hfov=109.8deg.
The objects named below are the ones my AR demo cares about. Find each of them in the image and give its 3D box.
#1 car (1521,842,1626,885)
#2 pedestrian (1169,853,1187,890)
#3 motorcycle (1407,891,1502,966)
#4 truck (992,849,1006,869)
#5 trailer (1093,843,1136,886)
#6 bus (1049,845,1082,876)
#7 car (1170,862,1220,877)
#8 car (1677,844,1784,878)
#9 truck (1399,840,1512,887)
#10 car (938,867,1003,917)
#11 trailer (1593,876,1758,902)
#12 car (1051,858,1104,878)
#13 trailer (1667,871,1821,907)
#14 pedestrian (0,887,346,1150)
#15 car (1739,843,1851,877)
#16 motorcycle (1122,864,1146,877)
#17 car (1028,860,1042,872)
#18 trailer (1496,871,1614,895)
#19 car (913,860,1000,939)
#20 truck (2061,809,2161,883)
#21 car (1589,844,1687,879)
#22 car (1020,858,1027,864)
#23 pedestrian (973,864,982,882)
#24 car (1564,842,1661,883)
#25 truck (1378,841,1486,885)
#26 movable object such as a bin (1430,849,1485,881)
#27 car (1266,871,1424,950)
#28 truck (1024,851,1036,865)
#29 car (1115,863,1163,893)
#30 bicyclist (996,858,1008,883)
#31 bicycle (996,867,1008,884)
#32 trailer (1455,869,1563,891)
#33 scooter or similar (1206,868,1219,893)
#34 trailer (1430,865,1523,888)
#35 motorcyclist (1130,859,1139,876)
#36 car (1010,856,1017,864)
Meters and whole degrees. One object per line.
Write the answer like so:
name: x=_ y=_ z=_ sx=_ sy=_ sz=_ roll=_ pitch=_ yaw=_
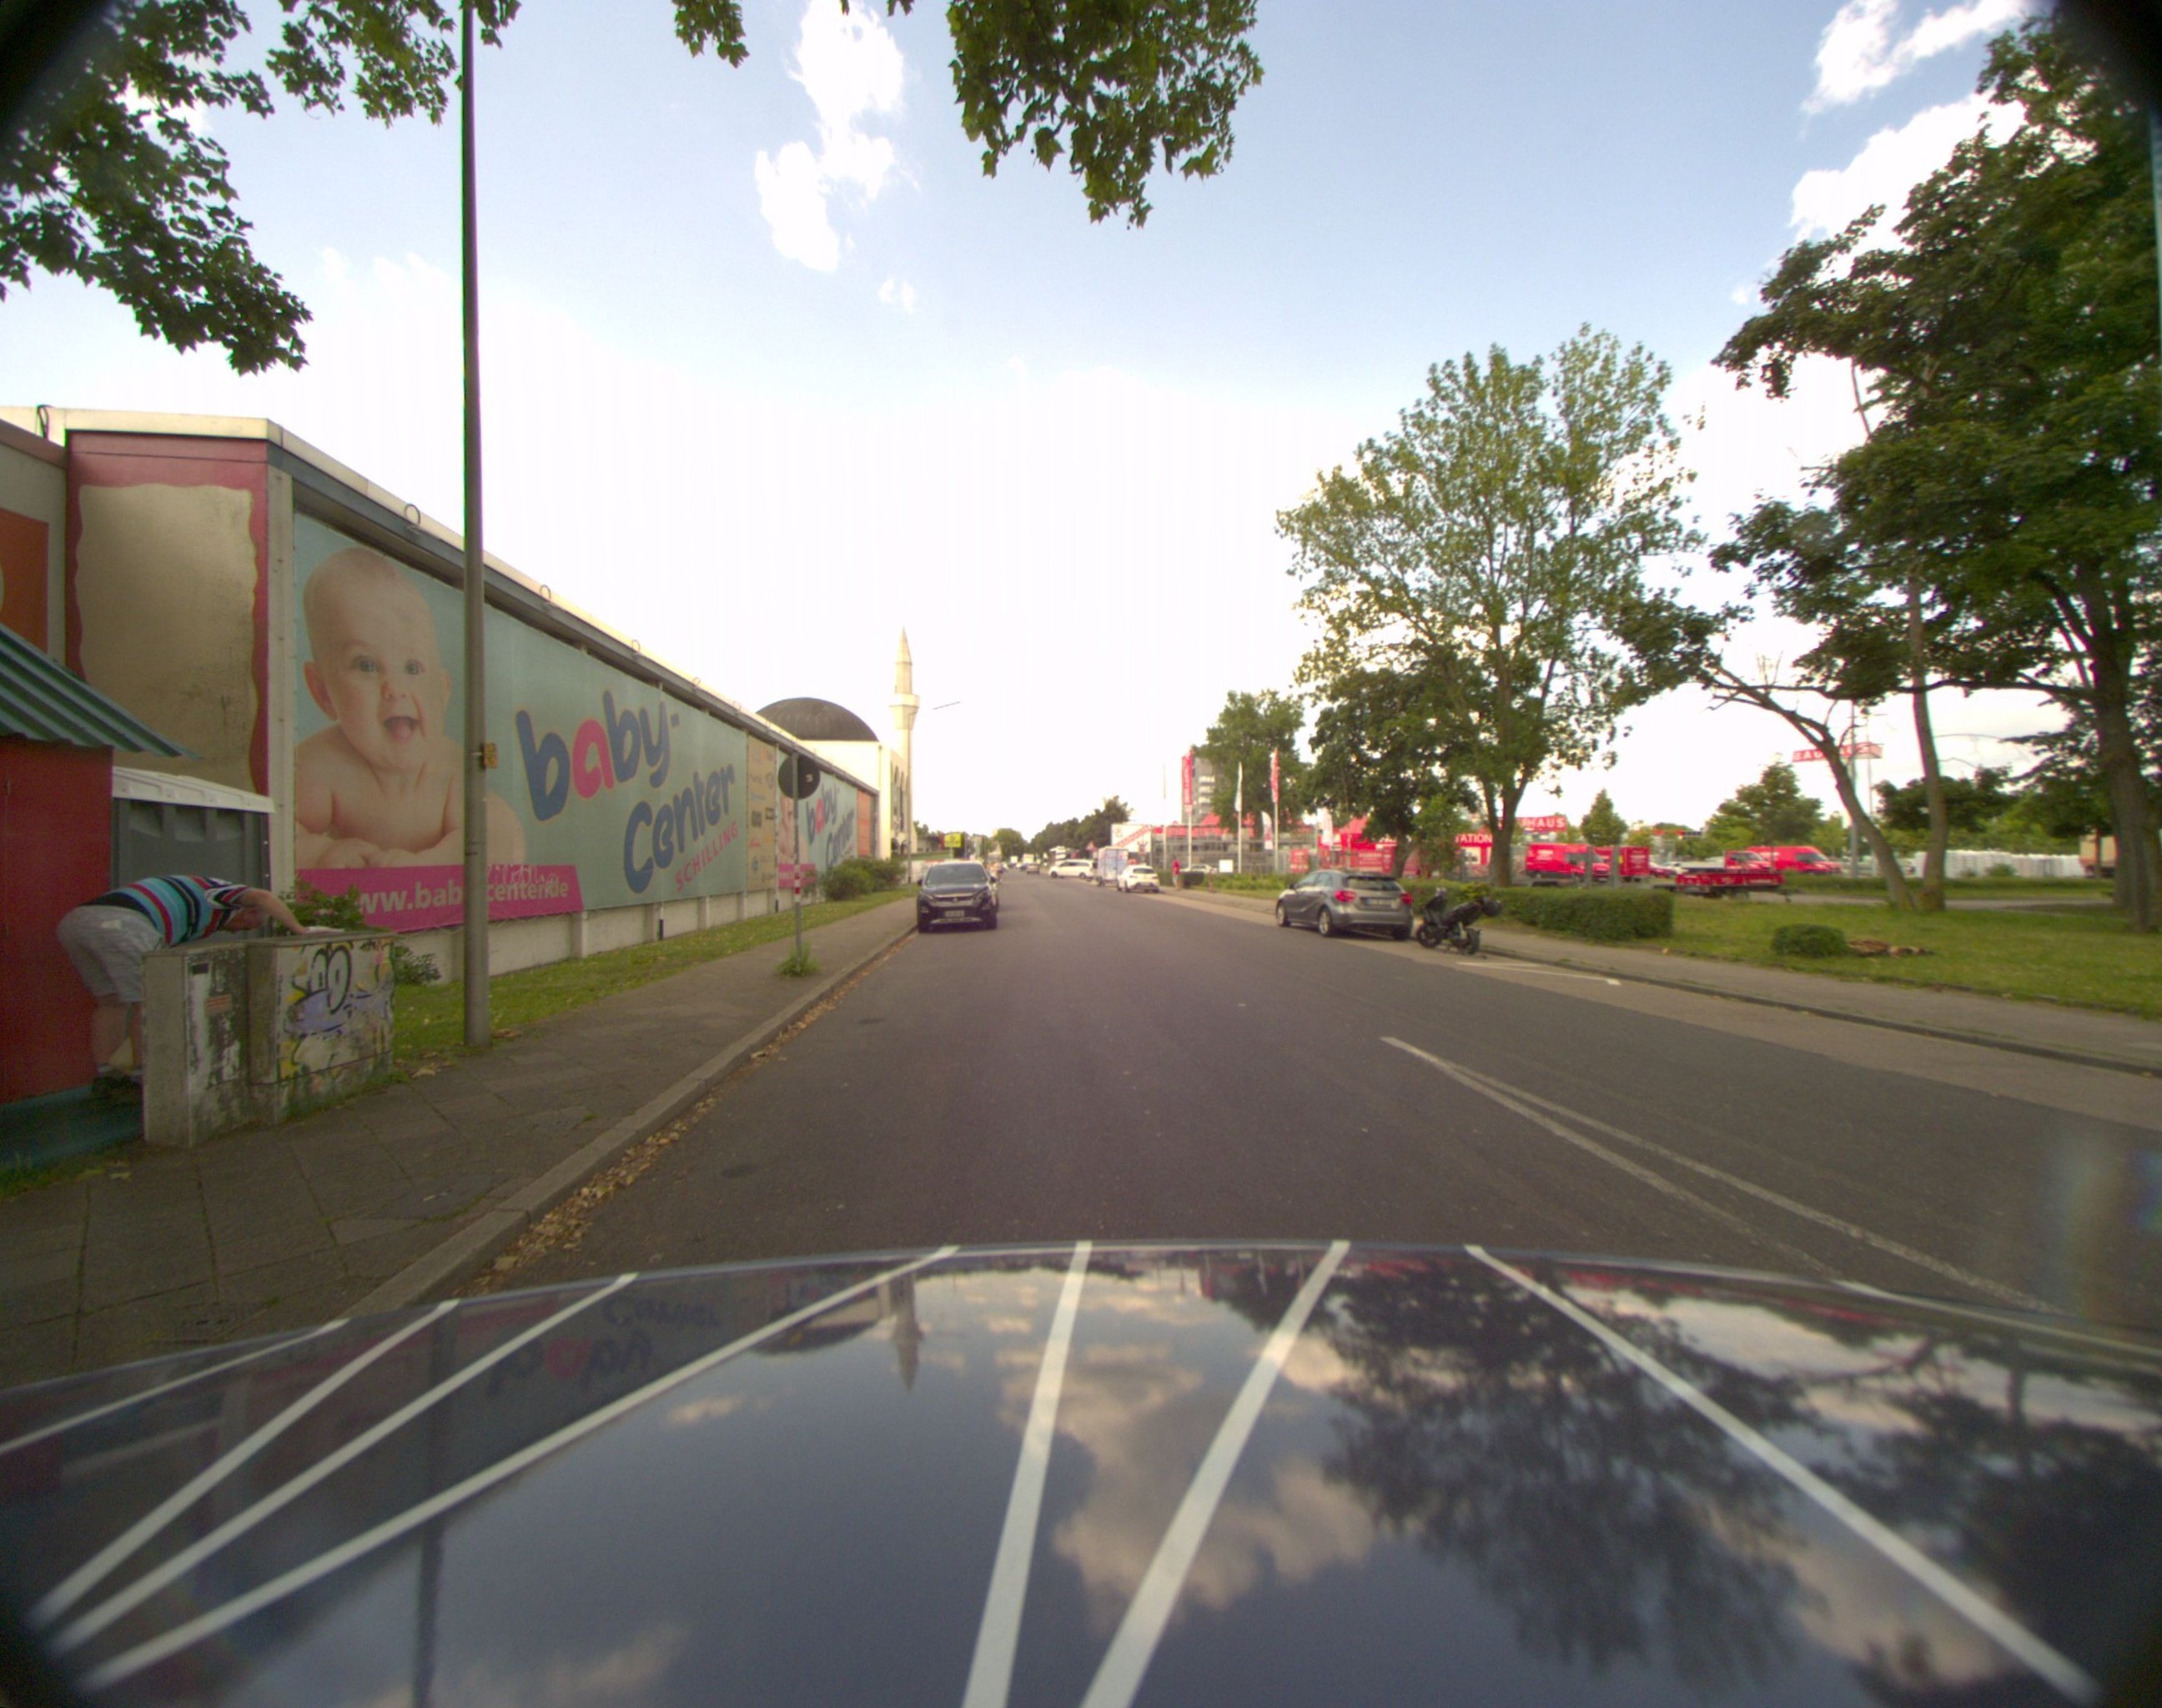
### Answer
car: x=32.062 y=0.517 z=49.810 sx=2.273 sy=2.579 sz=6.433 roll=0 pitch=2 yaw=-5
pedestrian: x=5.331 y=0.941 z=41.714 sx=0.812 sy=2.002 sz=0.885 roll=-1 pitch=1 yaw=-6
motorcycle: x=6.549 y=1.278 z=13.433 sx=0.623 sy=1.131 sz=1.802 roll=3 pitch=0 yaw=-5
truck: x=-17.567 y=1.095 z=163.433 sx=2.787 sy=4.092 sz=8.275 roll=-3 pitch=0 yaw=-6
trailer: x=2.218 y=0.714 z=51.936 sx=2.146 sy=2.766 sz=4.700 roll=2 pitch=-1 yaw=-6
bus: x=-1.986 y=0.773 z=91.364 sx=2.671 sy=3.402 sz=13.211 roll=3 pitch=-1 yaw=-6
car: x=11.453 y=1.520 z=76.464 sx=4.698 sy=1.445 sz=1.954 roll=0 pitch=0 yaw=-5
car: x=49.896 y=0.456 z=58.662 sx=2.273 sy=2.402 sz=6.433 roll=0 pitch=1 yaw=-6
truck: x=21.095 y=0.496 z=42.905 sx=5.564 sy=2.579 sz=1.778 roll=0 pitch=2 yaw=-5
car: x=-3.611 y=1.205 z=25.578 sx=1.813 sy=1.382 sz=4.586 roll=-3 pitch=0 yaw=-5
trailer: x=22.504 y=1.318 z=28.923 sx=4.607 sy=0.907 sz=2.187 roll=0 pitch=-1 yaw=-1
car: x=-0.364 y=1.389 z=76.899 sx=5.003 sy=1.937 sz=1.996 roll=-1 pitch=0 yaw=29
trailer: x=22.879 y=1.197 z=26.314 sx=3.827 sy=1.183 sz=1.715 roll=0 pitch=-1 yaw=0
pedestrian: x=-5.233 y=0.871 z=4.391 sx=1.016 sy=1.306 sz=0.965 roll=0 pitch=0 yaw=2
car: x=55.971 y=0.408 z=59.828 sx=2.273 sy=2.402 sz=6.433 roll=0 pitch=1 yaw=-6
motorcycle: x=5.253 y=1.629 z=75.849 sx=2.228 sy=1.206 sz=0.994 roll=0 pitch=0 yaw=-5
car: x=-6.124 y=1.574 z=100.635 sx=1.596 sy=1.456 sz=3.759 roll=1 pitch=-1 yaw=-6
trailer: x=21.620 y=1.299 z=34.744 sx=4.248 sy=0.907 sz=2.021 roll=0 pitch=2 yaw=-8
car: x=-3.015 y=1.015 z=19.024 sx=1.814 sy=1.655 sz=4.637 roll=-3 pitch=0 yaw=-7
truck: x=60.065 y=-0.494 z=42.111 sx=8.348 sy=3.927 sz=2.985 roll=0 pitch=2 yaw=-6
car: x=42.404 y=0.516 z=58.121 sx=2.273 sy=2.402 sz=6.433 roll=0 pitch=1 yaw=-6
car: x=-14.675 y=1.726 z=193.606 sx=1.688 sy=1.461 sz=3.610 roll=1 pitch=-1 yaw=-7
pedestrian: x=-9.025 y=1.639 z=66.215 sx=0.683 sy=1.525 sz=1.129 roll=-1 pitch=0 yaw=-8
car: x=36.394 y=0.487 z=52.278 sx=2.273 sy=2.579 sz=5.719 roll=0 pitch=2 yaw=-5
truck: x=21.274 y=0.492 z=46.128 sx=5.771 sy=2.579 sz=1.814 roll=0 pitch=2 yaw=-4
movable object such as a bin: x=27.261 y=0.769 z=55.092 sx=1.999 sy=2.261 sz=3.543 roll=0 pitch=0 yaw=-6
car: x=5.741 y=1.169 z=17.143 sx=1.714 sy=1.411 sz=4.329 roll=2 pitch=-1 yaw=-4
truck: x=-13.546 y=1.005 z=202.798 sx=2.756 sy=3.701 sz=7.167 roll=1 pitch=0 yaw=-6
car: x=3.115 y=1.293 z=41.572 sx=1.771 sy=1.470 sz=4.233 roll=2 pitch=-1 yaw=-7
bicyclist: x=-5.662 y=1.172 z=54.543 sx=0.809 sy=1.782 sz=1.206 roll=-2 pitch=1 yaw=-7
bicycle: x=-5.654 y=1.529 z=54.534 sx=0.800 sy=1.173 sz=2.625 roll=-2 pitch=0 yaw=-7
trailer: x=21.423 y=1.291 z=38.125 sx=4.248 sy=0.907 sz=2.157 roll=0 pitch=2 yaw=-8
scooter or similar: x=6.565 y=1.323 z=38.065 sx=0.518 sy=1.186 sz=1.280 roll=-1 pitch=0 yaw=5
trailer: x=21.057 y=1.176 z=40.511 sx=4.248 sy=1.114 sz=1.670 roll=0 pitch=2 yaw=-8
motorcyclist: x=5.330 y=1.371 z=75.856 sx=0.676 sy=1.712 sz=0.994 roll=0 pitch=0 yaw=-5
car: x=-17.081 y=1.512 z=192.404 sx=1.798 sy=1.881 sz=3.998 roll=0 pitch=0 yaw=-7
